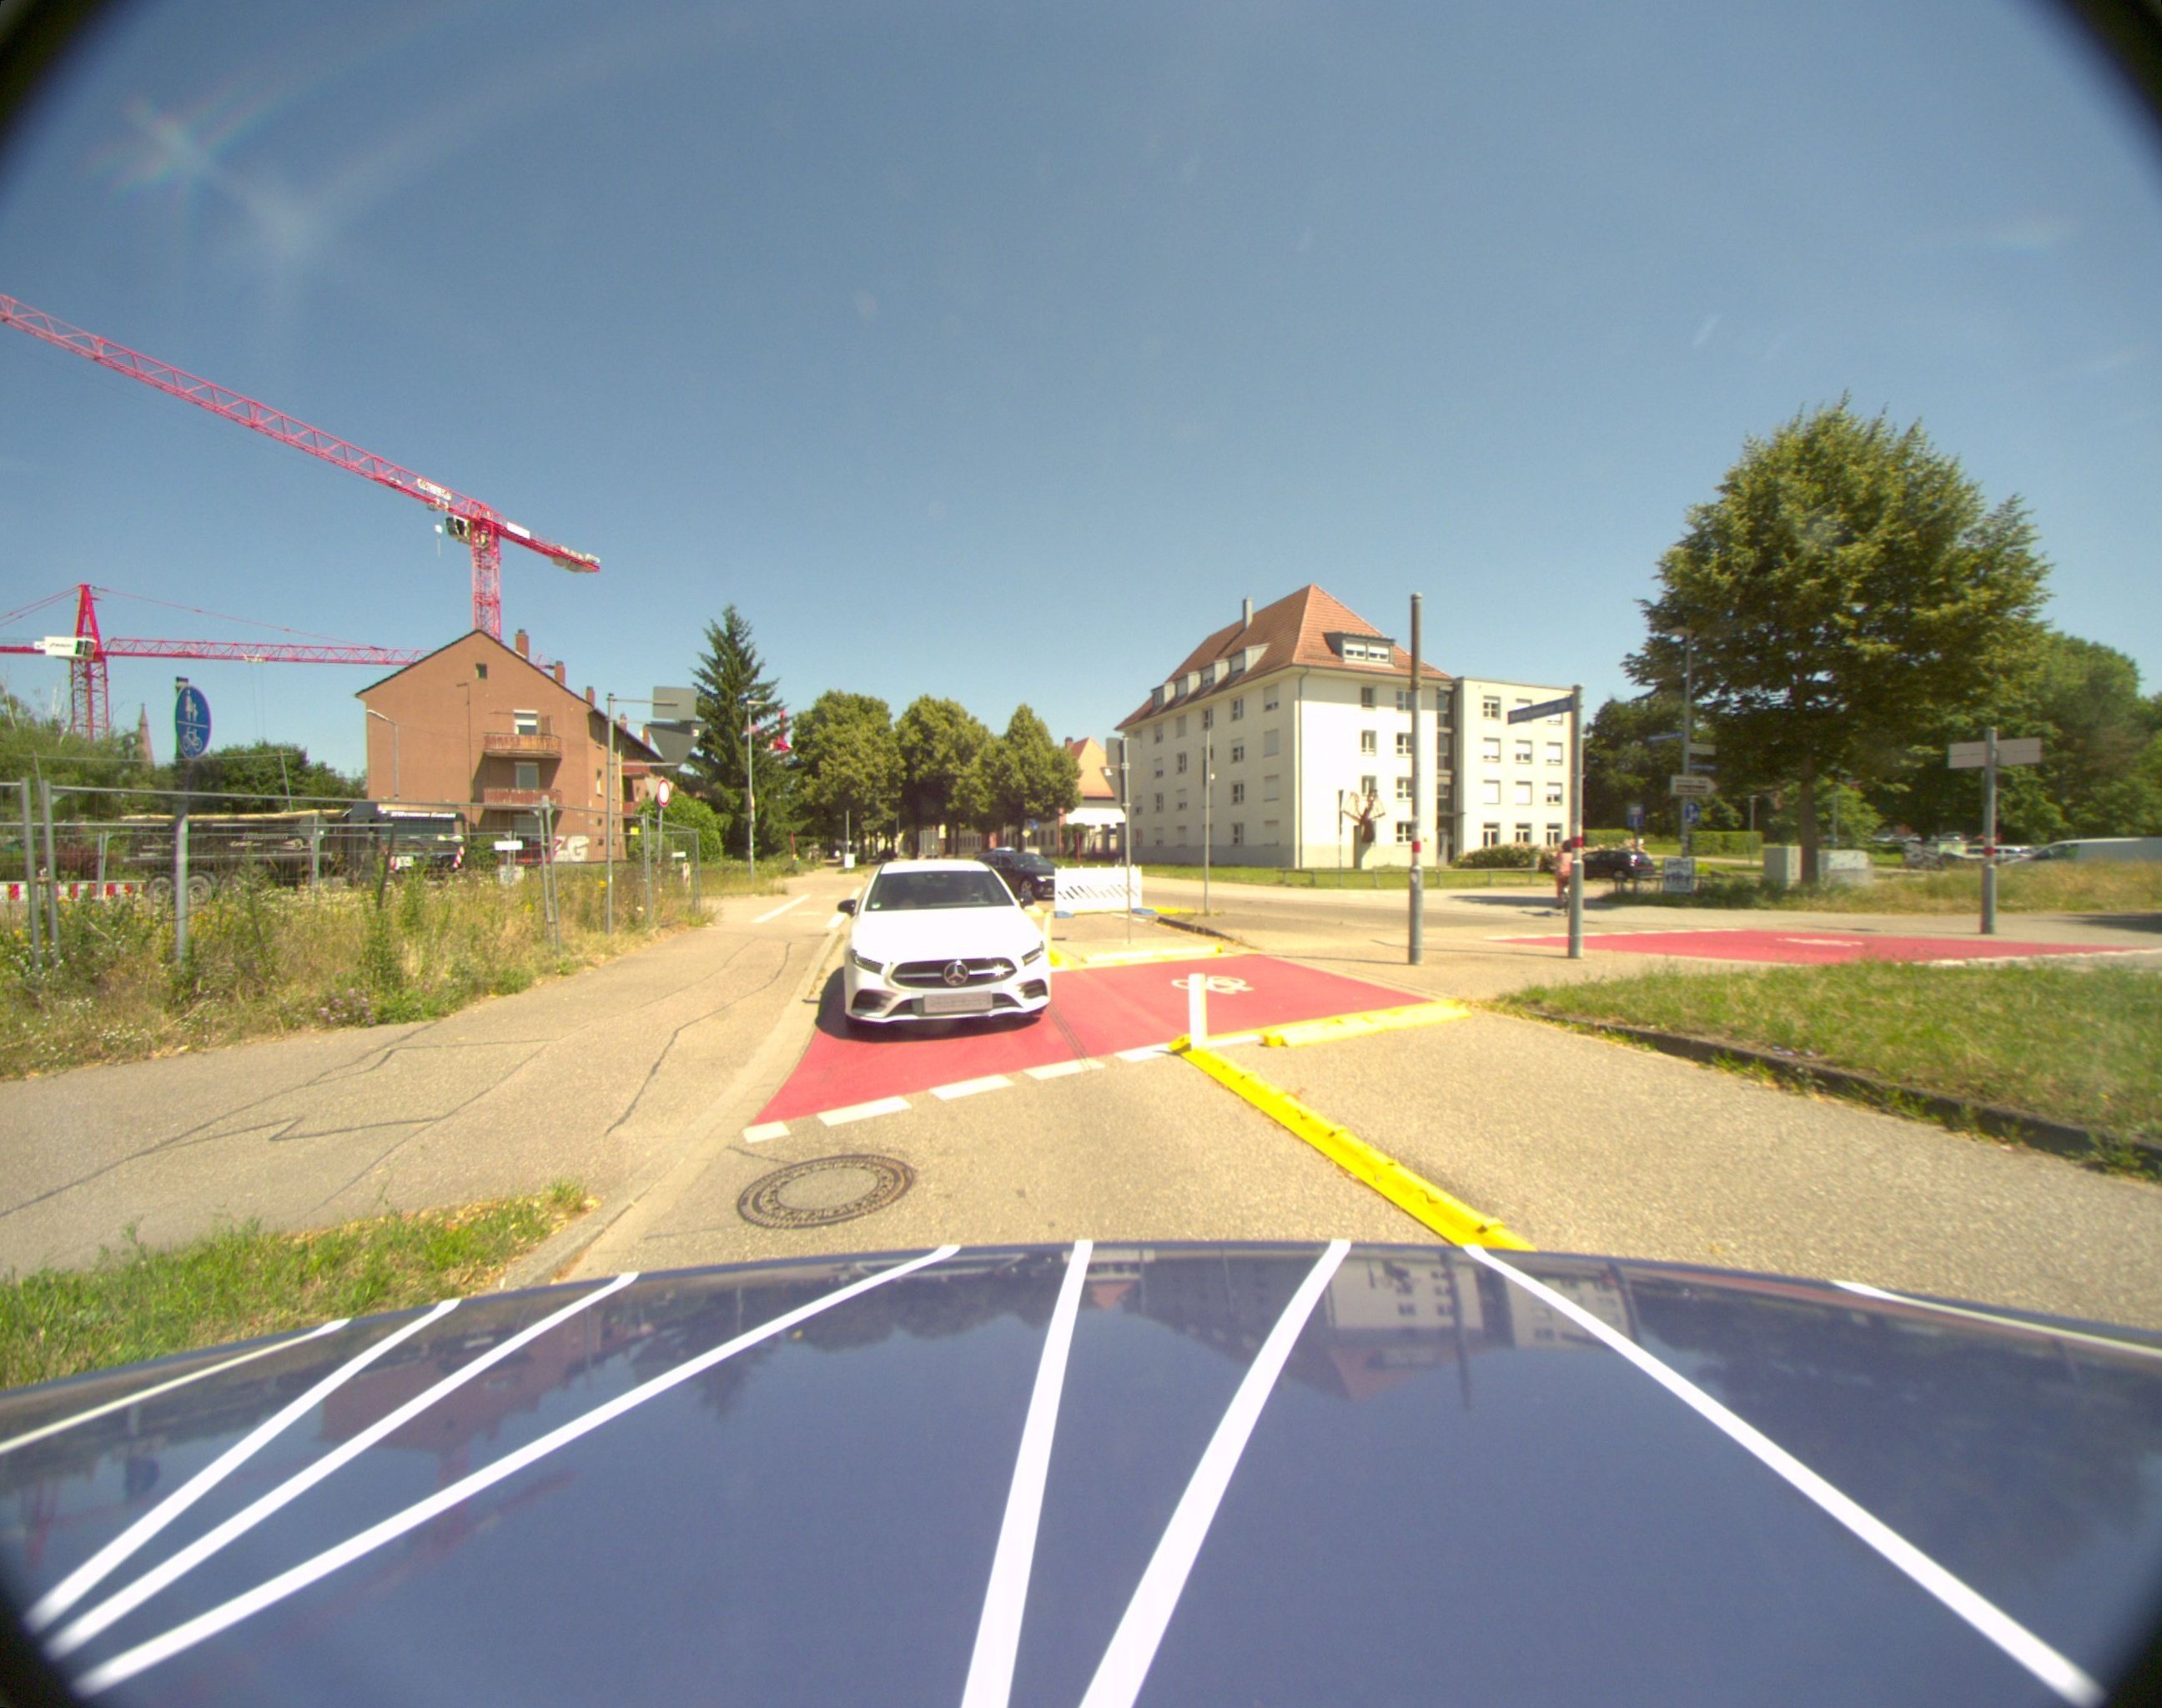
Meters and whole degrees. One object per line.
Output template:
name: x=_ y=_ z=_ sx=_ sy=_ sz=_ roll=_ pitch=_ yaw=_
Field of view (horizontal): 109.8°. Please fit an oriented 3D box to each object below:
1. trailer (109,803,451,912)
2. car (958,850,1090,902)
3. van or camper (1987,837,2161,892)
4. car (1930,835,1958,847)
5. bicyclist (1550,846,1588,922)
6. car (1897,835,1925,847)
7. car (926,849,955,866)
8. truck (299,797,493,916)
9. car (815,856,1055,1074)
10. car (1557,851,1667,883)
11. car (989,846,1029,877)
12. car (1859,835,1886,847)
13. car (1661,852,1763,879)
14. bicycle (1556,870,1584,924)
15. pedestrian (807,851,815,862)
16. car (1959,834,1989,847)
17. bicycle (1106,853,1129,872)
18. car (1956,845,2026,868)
trailer: x=-27.800 y=0.120 z=26.658 sx=8.983 sy=3.512 sz=3.165 roll=0 pitch=1 yaw=4
car: x=-1.938 y=0.672 z=24.630 sx=1.805 sy=1.443 sz=4.605 roll=-4 pitch=2 yaw=-41
van or camper: x=37.182 y=0.342 z=27.496 sx=2.002 sy=1.847 sz=5.263 roll=-1 pitch=1 yaw=-21
car: x=103.446 y=-1.596 z=91.074 sx=3.031 sy=1.408 sz=1.476 roll=-1 pitch=1 yaw=-25
bicyclist: x=10.905 y=0.671 z=16.990 sx=0.644 sy=1.653 sz=0.711 roll=-2 pitch=-2 yaw=31
car: x=102.521 y=-1.636 z=93.854 sx=3.031 sy=1.408 sz=1.476 roll=-1 pitch=1 yaw=-25
car: x=-12.165 y=0.280 z=65.768 sx=1.646 sy=1.374 sz=3.882 roll=-1 pitch=1 yaw=-23
truck: x=-22.585 y=0.066 z=25.089 sx=4.951 sy=3.512 sz=3.170 roll=0 pitch=1 yaw=28
car: x=-1.542 y=0.860 z=7.936 sx=1.782 sy=1.537 sz=3.958 roll=-3 pitch=1 yaw=-12
car: x=23.948 y=0.555 z=34.415 sx=1.661 sy=1.319 sz=3.801 roll=-1 pitch=1 yaw=-20
car: x=-4.436 y=0.426 z=46.220 sx=1.690 sy=1.759 sz=4.199 roll=-3 pitch=1 yaw=-14
car: x=100.355 y=-1.637 z=96.384 sx=3.031 sy=1.408 sz=1.476 roll=-1 pitch=1 yaw=-25
car: x=29.917 y=0.524 z=36.149 sx=1.358 sy=1.210 sz=3.507 roll=-1 pitch=1 yaw=-20
bicycle: x=10.857 y=0.928 z=16.905 sx=0.438 sy=1.051 sz=2.092 roll=-2 pitch=0 yaw=31
pedestrian: x=-37.707 y=0.344 z=106.206 sx=1.025 sy=1.509 sz=0.681 roll=-1 pitch=1 yaw=-14
car: x=104.351 y=-1.577 z=88.781 sx=3.031 sy=1.408 sz=1.476 roll=-1 pitch=1 yaw=-25
bicycle: x=2.103 y=0.487 z=43.990 sx=0.710 sy=1.018 sz=1.982 roll=-3 pitch=2 yaw=-14
car: x=55.815 y=0.129 z=46.631 sx=1.084 sy=1.350 sz=2.526 roll=-1 pitch=1 yaw=-14
